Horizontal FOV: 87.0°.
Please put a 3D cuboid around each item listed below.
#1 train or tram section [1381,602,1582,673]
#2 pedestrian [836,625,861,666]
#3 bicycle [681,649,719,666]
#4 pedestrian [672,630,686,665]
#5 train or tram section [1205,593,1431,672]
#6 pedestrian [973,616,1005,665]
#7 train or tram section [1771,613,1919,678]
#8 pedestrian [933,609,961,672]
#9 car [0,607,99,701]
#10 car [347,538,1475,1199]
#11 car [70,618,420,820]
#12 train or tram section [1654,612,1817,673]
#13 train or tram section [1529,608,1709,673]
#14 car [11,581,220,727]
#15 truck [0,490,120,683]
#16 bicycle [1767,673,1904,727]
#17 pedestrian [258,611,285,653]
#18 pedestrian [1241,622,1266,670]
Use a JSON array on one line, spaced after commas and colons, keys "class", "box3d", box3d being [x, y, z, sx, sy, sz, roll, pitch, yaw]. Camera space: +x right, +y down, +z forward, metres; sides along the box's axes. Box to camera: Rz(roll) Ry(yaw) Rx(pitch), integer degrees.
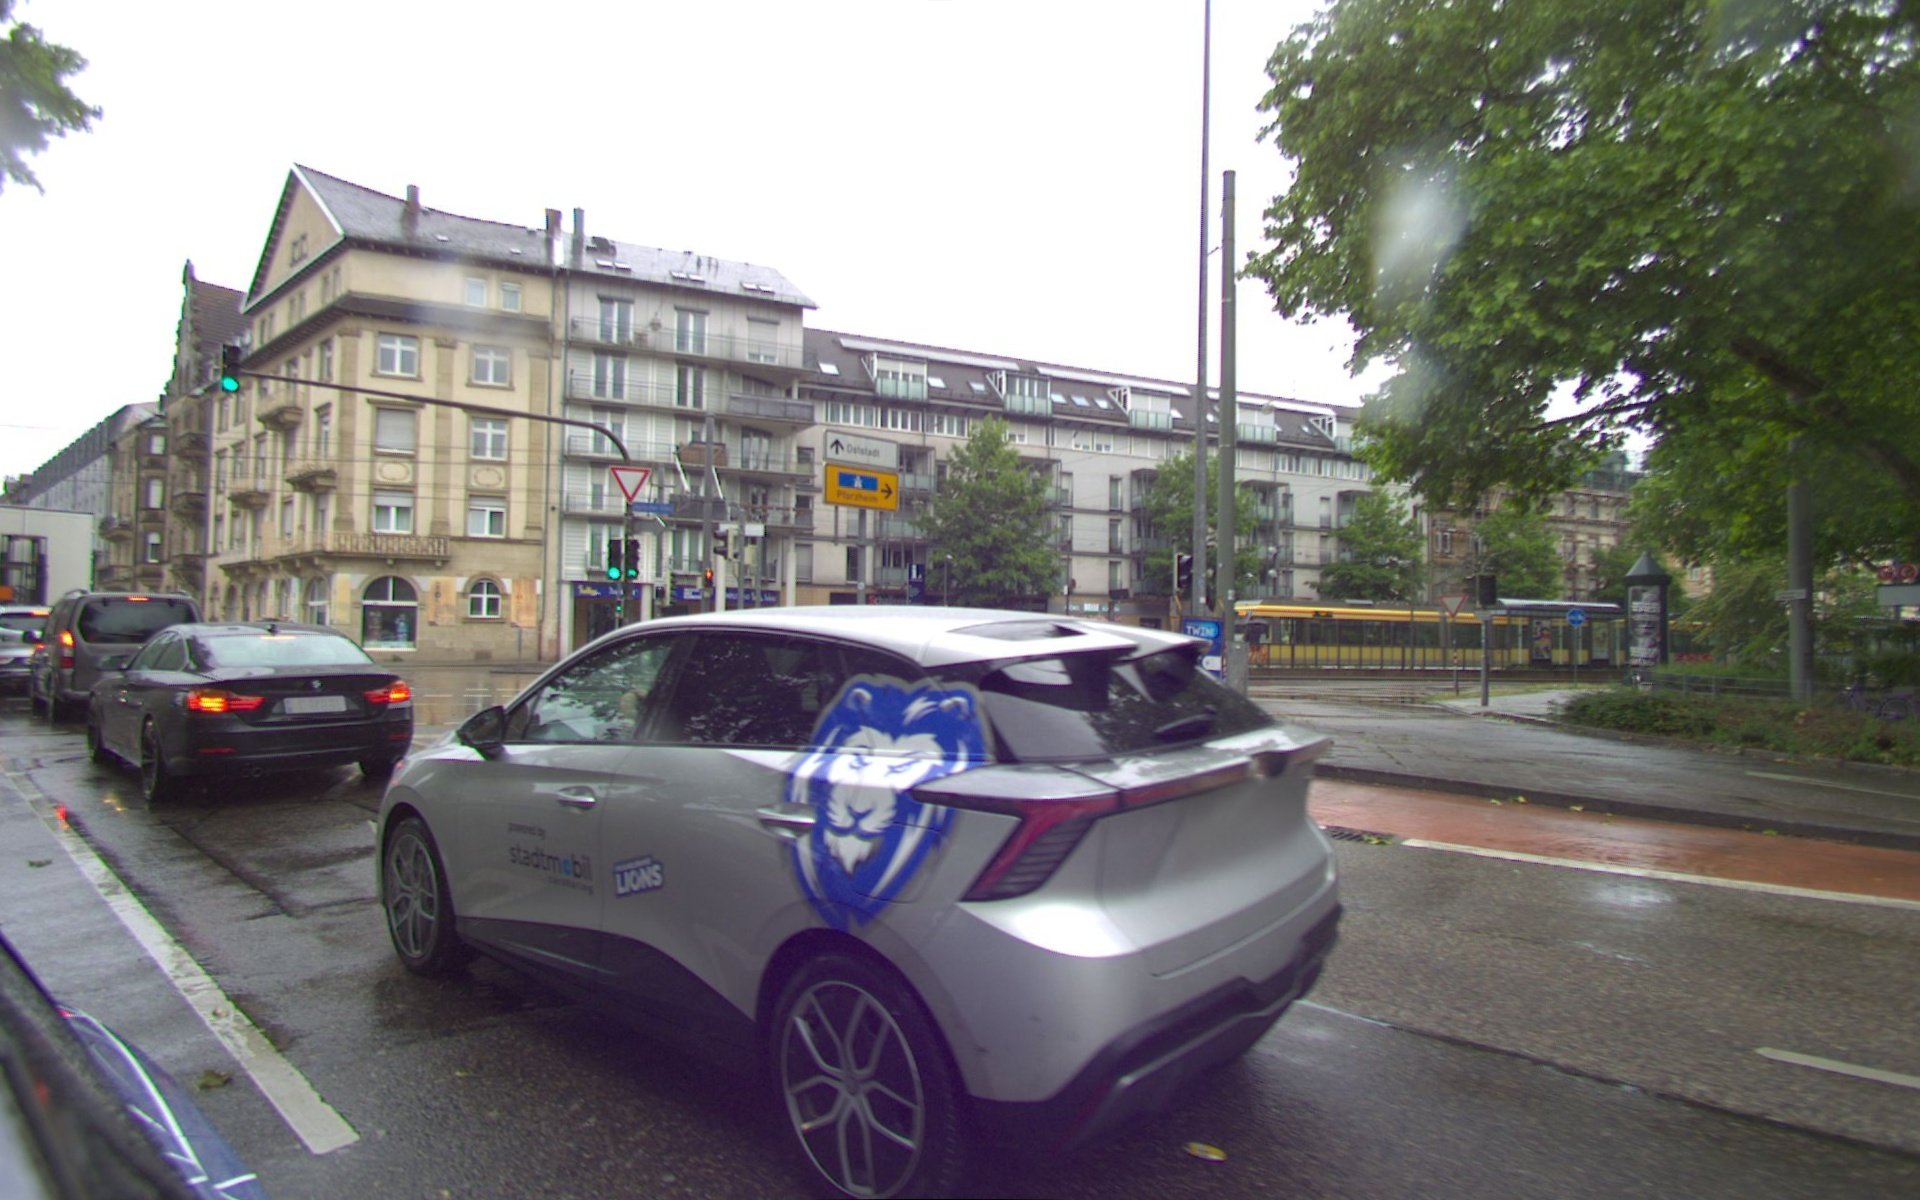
[{"class": "train or tram section", "box3d": [27.880, 2.078, 53.944, 11.376, 3.531, 3.082, 2, -3, -24]}, {"class": "pedestrian", "box3d": [-4.625, 1.880, 41.957, 0.743, 1.661, 0.840, 3, -4, -28]}, {"class": "bicycle", "box3d": [-14.057, 3.099, 54.715, 1.894, 0.873, 0.583, 2, -3, -22]}, {"class": "pedestrian", "box3d": [-14.610, 2.460, 52.592, 0.601, 1.794, 0.501, 2, -3, -24]}, {"class": "train or tram section", "box3d": [17.520, 1.685, 49.236, 11.376, 3.531, 3.082, 2, -3, -24]}, {"class": "pedestrian", "box3d": [0.996, 1.420, 35.227, 0.803, 1.661, 0.796, 3, -4, -25]}, {"class": "train or tram section", "box3d": [51.642, 2.675, 58.104, 11.376, 3.531, 3.082, 2, -3, -24]}, {"class": "pedestrian", "box3d": [-0.442, 1.359, 33.812, 0.690, 2.093, 0.639, 2, -3, -29]}, {"class": "car", "box3d": [-17.657, 0.980, 19.001, 3.999, 1.616, 1.723, -1, -3, 42]}, {"class": "car", "box3d": [-0.534, 0.724, 3.766, 4.053, 1.521, 1.826, -1, -3, 41]}, {"class": "car", "box3d": [-6.728, 0.888, 9.318, 4.362, 1.400, 1.724, 0, -1, 42]}, {"class": "train or tram section", "box3d": [48.628, 2.724, 63.375, 11.376, 3.531, 3.082, 2, -3, -24]}, {"class": "train or tram section", "box3d": [38.273, 2.412, 58.664, 11.376, 3.531, 3.082, 2, -3, -24]}, {"class": "car", "box3d": [-12.655, 0.763, 15.076, 4.108, 1.876, 1.787, -1, -3, 42]}, {"class": "truck", "box3d": [-23.876, -0.180, 25.017, 10.308, 4.056, 2.817, -1, -4, 40]}, {"class": "bicycle", "box3d": [17.115, 1.940, 19.867, 0.629, 0.876, 2.317, 0, -1, -1]}, {"class": "pedestrian", "box3d": [-32.722, 1.516, 48.125, 0.907, 1.980, 0.701, 2, 0, -43]}, {"class": "pedestrian", "box3d": [11.479, 1.804, 39.568, 0.667, 1.852, 0.642, 3, -4, -25]}]
